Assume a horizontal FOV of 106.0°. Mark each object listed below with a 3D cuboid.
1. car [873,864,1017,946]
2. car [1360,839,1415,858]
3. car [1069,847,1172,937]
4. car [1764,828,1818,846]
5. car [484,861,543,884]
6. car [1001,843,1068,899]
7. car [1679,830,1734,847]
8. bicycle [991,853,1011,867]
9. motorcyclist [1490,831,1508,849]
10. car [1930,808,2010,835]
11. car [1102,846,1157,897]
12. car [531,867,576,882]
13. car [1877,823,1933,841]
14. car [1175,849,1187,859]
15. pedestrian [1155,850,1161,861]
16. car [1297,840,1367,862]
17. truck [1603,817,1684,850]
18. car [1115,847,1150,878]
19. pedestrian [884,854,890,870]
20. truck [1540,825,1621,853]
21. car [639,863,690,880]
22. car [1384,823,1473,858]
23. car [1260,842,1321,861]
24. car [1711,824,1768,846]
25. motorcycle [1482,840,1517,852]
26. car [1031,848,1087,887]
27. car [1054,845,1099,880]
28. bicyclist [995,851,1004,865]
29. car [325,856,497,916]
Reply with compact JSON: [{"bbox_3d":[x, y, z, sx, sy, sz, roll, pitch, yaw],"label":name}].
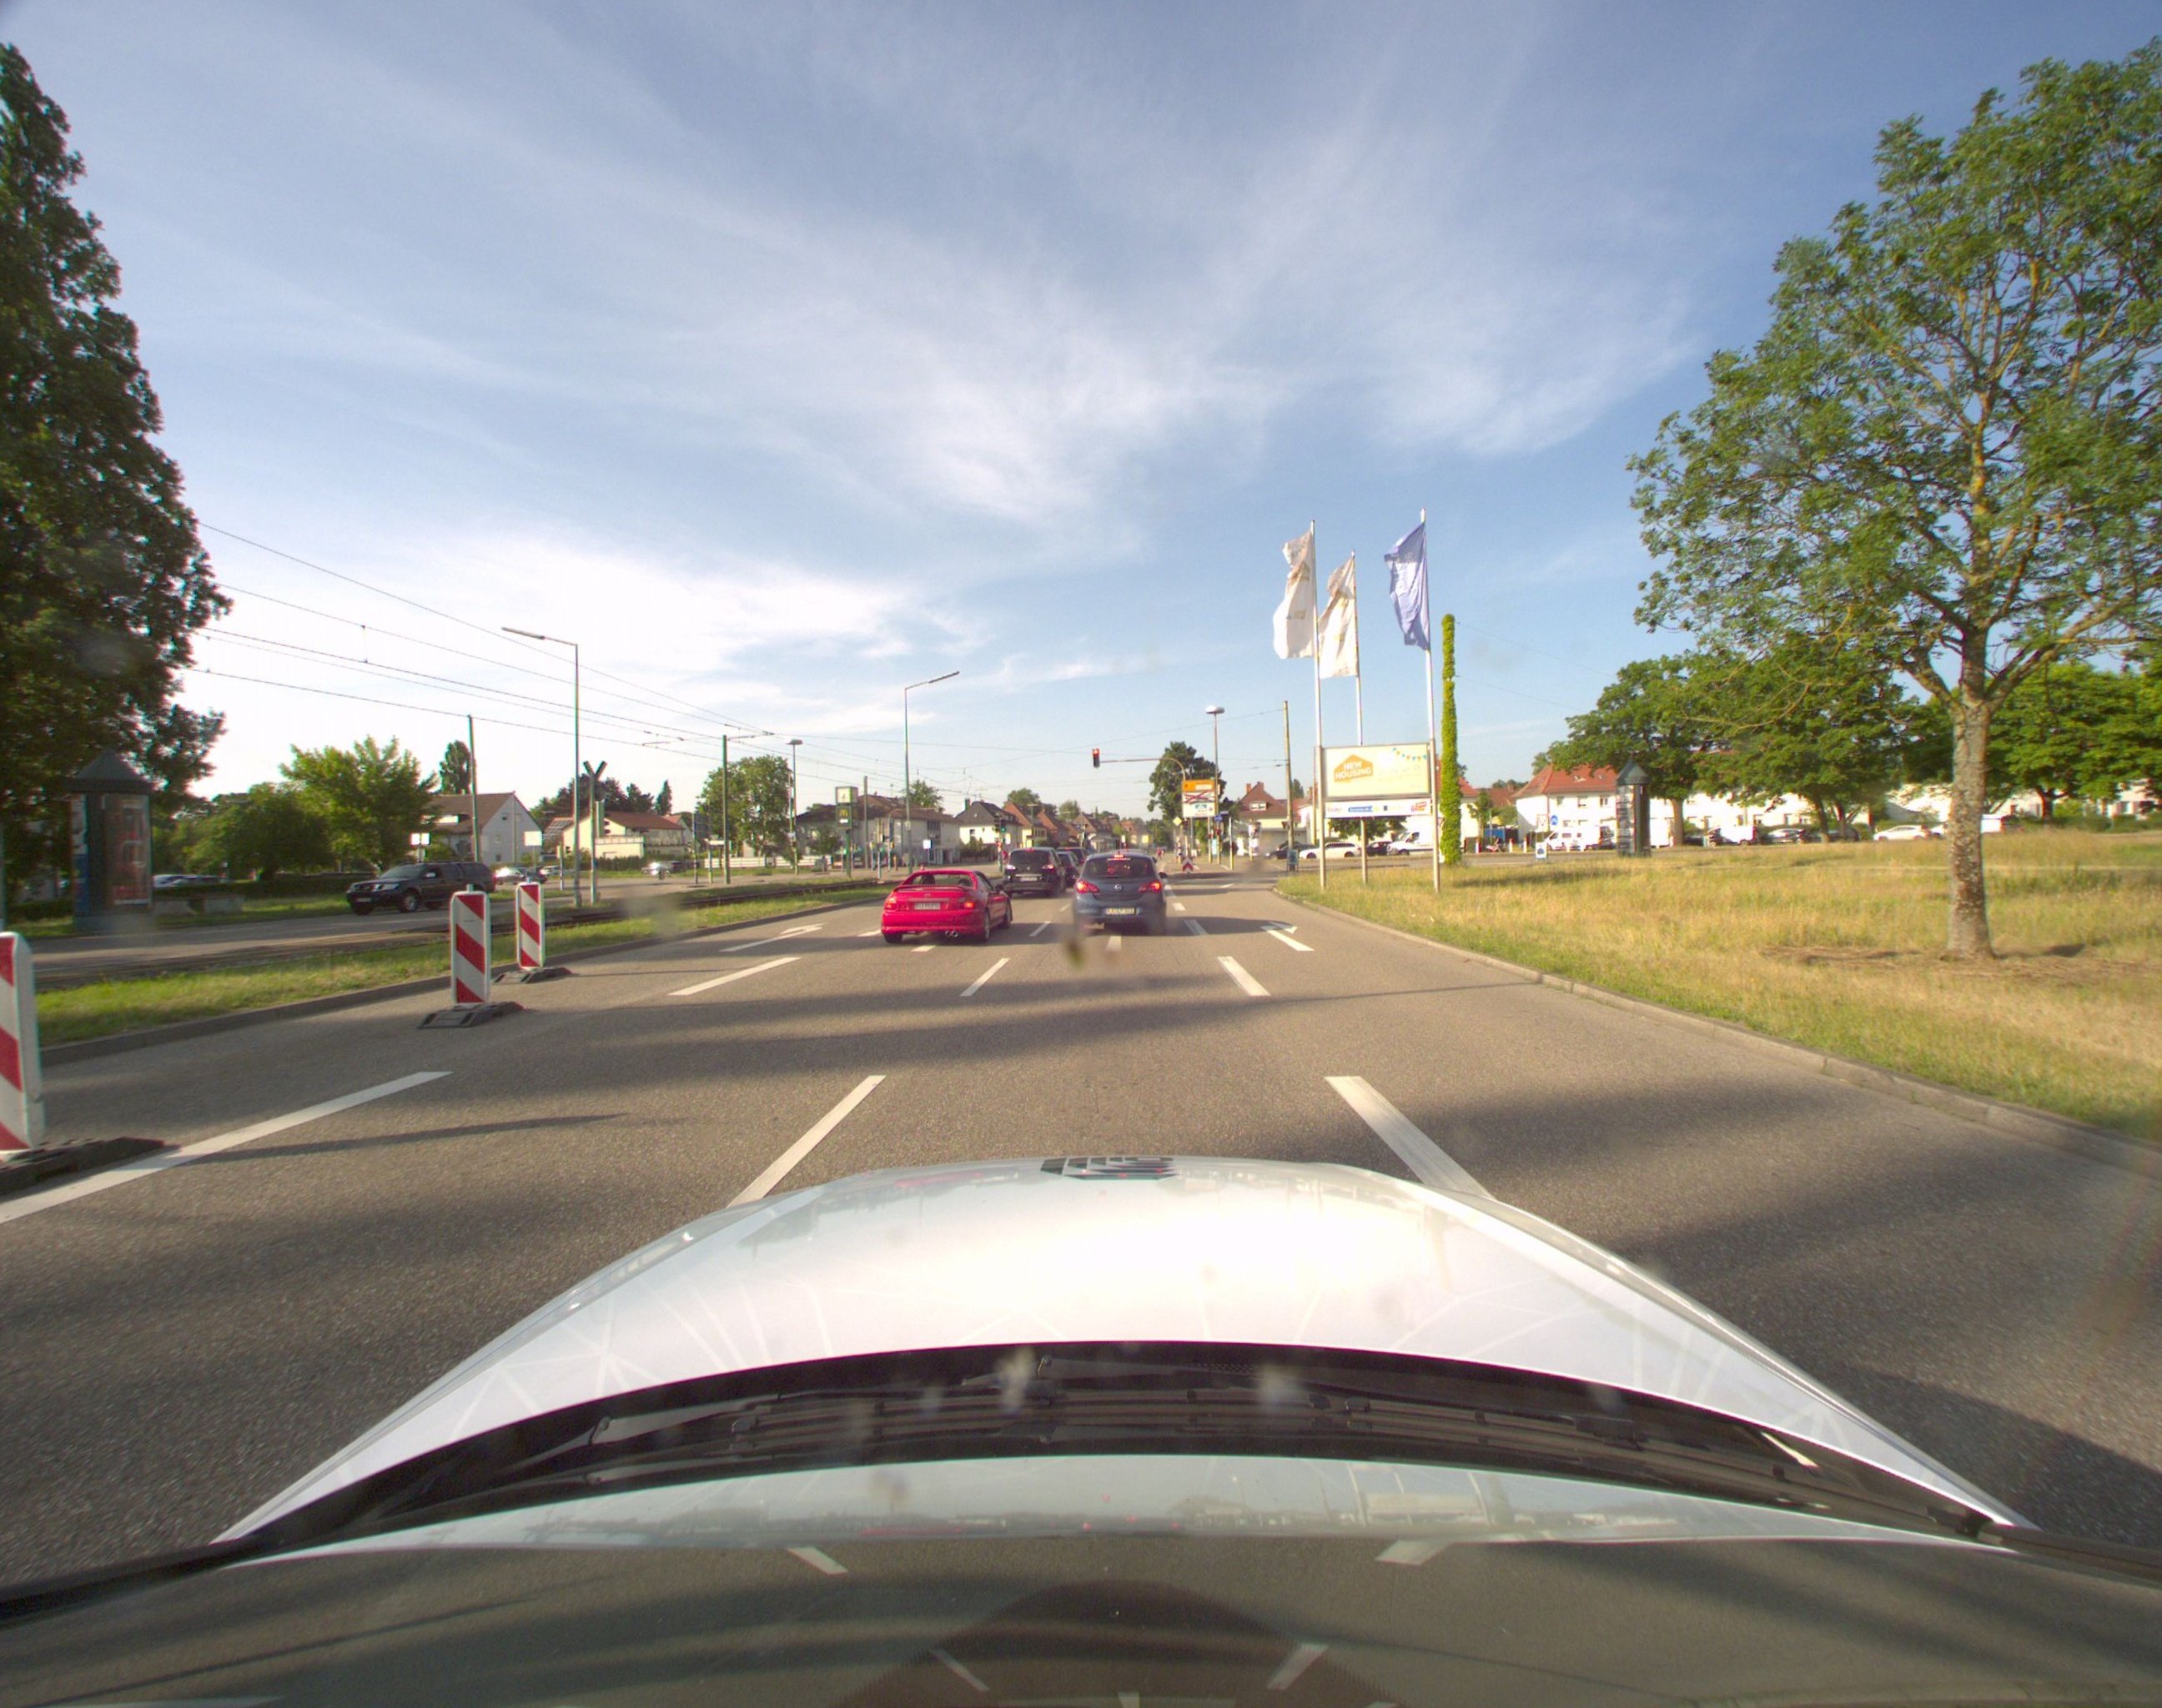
[{"bbox_3d":[-2.306,0.836,14.771,1.724,1.206,3.851,-1,0,4],"label":"car"},{"bbox_3d":[25.645,-0.497,68.260,3.966,1.453,1.719,-2,0,6],"label":"car"},{"bbox_3d":[0.726,0.637,16.146,1.735,1.505,4.223,-2,0,1],"label":"car"},{"bbox_3d":[67.019,-1.623,76.898,1.904,1.514,3.461,-2,0,-36],"label":"car"},{"bbox_3d":[-47.710,1.516,68.475,3.965,1.793,1.523,-2,0,7],"label":"car"},{"bbox_3d":[-1.458,0.508,27.010,1.756,1.670,4.088,-1,0,3],"label":"car"},{"bbox_3d":[60.112,-1.452,78.283,1.907,1.456,3.861,-2,0,-43],"label":"car"},{"bbox_3d":[-8.151,0.609,83.068,2.069,1.348,1.107,0,-1,-3],"label":"bicycle"},{"bbox_3d":[32.526,-1.097,63.340,1.060,1.352,0.681,-2,0,5],"label":"motorcyclist"},{"bbox_3d":[82.839,-2.995,75.925,2.010,2.232,4.921,-2,0,-40],"label":"car"},{"bbox_3d":[1.675,0.541,27.875,1.699,1.551,3.981,-2,0,3],"label":"car"},{"bbox_3d":[-61.427,2.336,94.917,1.980,1.684,4.234,0,-1,13],"label":"car"},{"bbox_3d":[76.926,-2.049,76.071,1.904,1.514,3.395,-2,0,-36],"label":"car"},{"bbox_3d":[14.003,-0.005,114.368,1.666,1.398,4.007,0,-1,7],"label":"car"},{"bbox_3d":[10.165,0.177,107.626,0.747,1.499,0.830,0,-1,14],"label":"pedestrian"},{"bbox_3d":[20.080,-0.221,65.305,5.068,1.563,1.843,-2,0,6],"label":"car"},{"bbox_3d":[53.872,-1.945,78.094,1.906,2.854,6.007,-2,0,-40],"label":"truck"},{"bbox_3d":[2.611,0.391,41.010,1.649,1.443,4.019,-2,0,4],"label":"car"},{"bbox_3d":[-20.097,0.851,84.420,0.510,1.599,0.540,-2,0,2],"label":"pedestrian"},{"bbox_3d":[47.782,-1.402,78.131,2.284,2.524,6.299,-2,1,-29],"label":"truck"},{"bbox_3d":[-40.840,1.748,79.871,3.959,1.486,2.007,-2,0,13],"label":"car"},{"bbox_3d":[27.488,-1.070,64.611,6.176,2.583,2.004,-2,0,6],"label":"car"},{"bbox_3d":[17.793,-0.228,69.192,4.798,1.411,1.719,-2,0,6],"label":"car"},{"bbox_3d":[63.149,-1.785,78.116,1.906,1.920,3.863,-2,0,-40],"label":"car"},{"bbox_3d":[32.544,-0.591,63.344,2.260,0.866,0.692,-2,0,5],"label":"motorcycle"},{"bbox_3d":[-0.870,0.532,34.611,1.690,1.508,4.562,-1,0,7],"label":"car"},{"bbox_3d":[-0.167,0.378,41.866,1.498,1.651,4.756,-2,0,9],"label":"car"},{"bbox_3d":[-8.286,0.451,83.053,0.882,1.431,1.135,0,-1,-3],"label":"bicyclist"},{"bbox_3d":[-25.581,1.135,31.437,1.986,2.013,5.360,-2,0,2],"label":"car"}]
